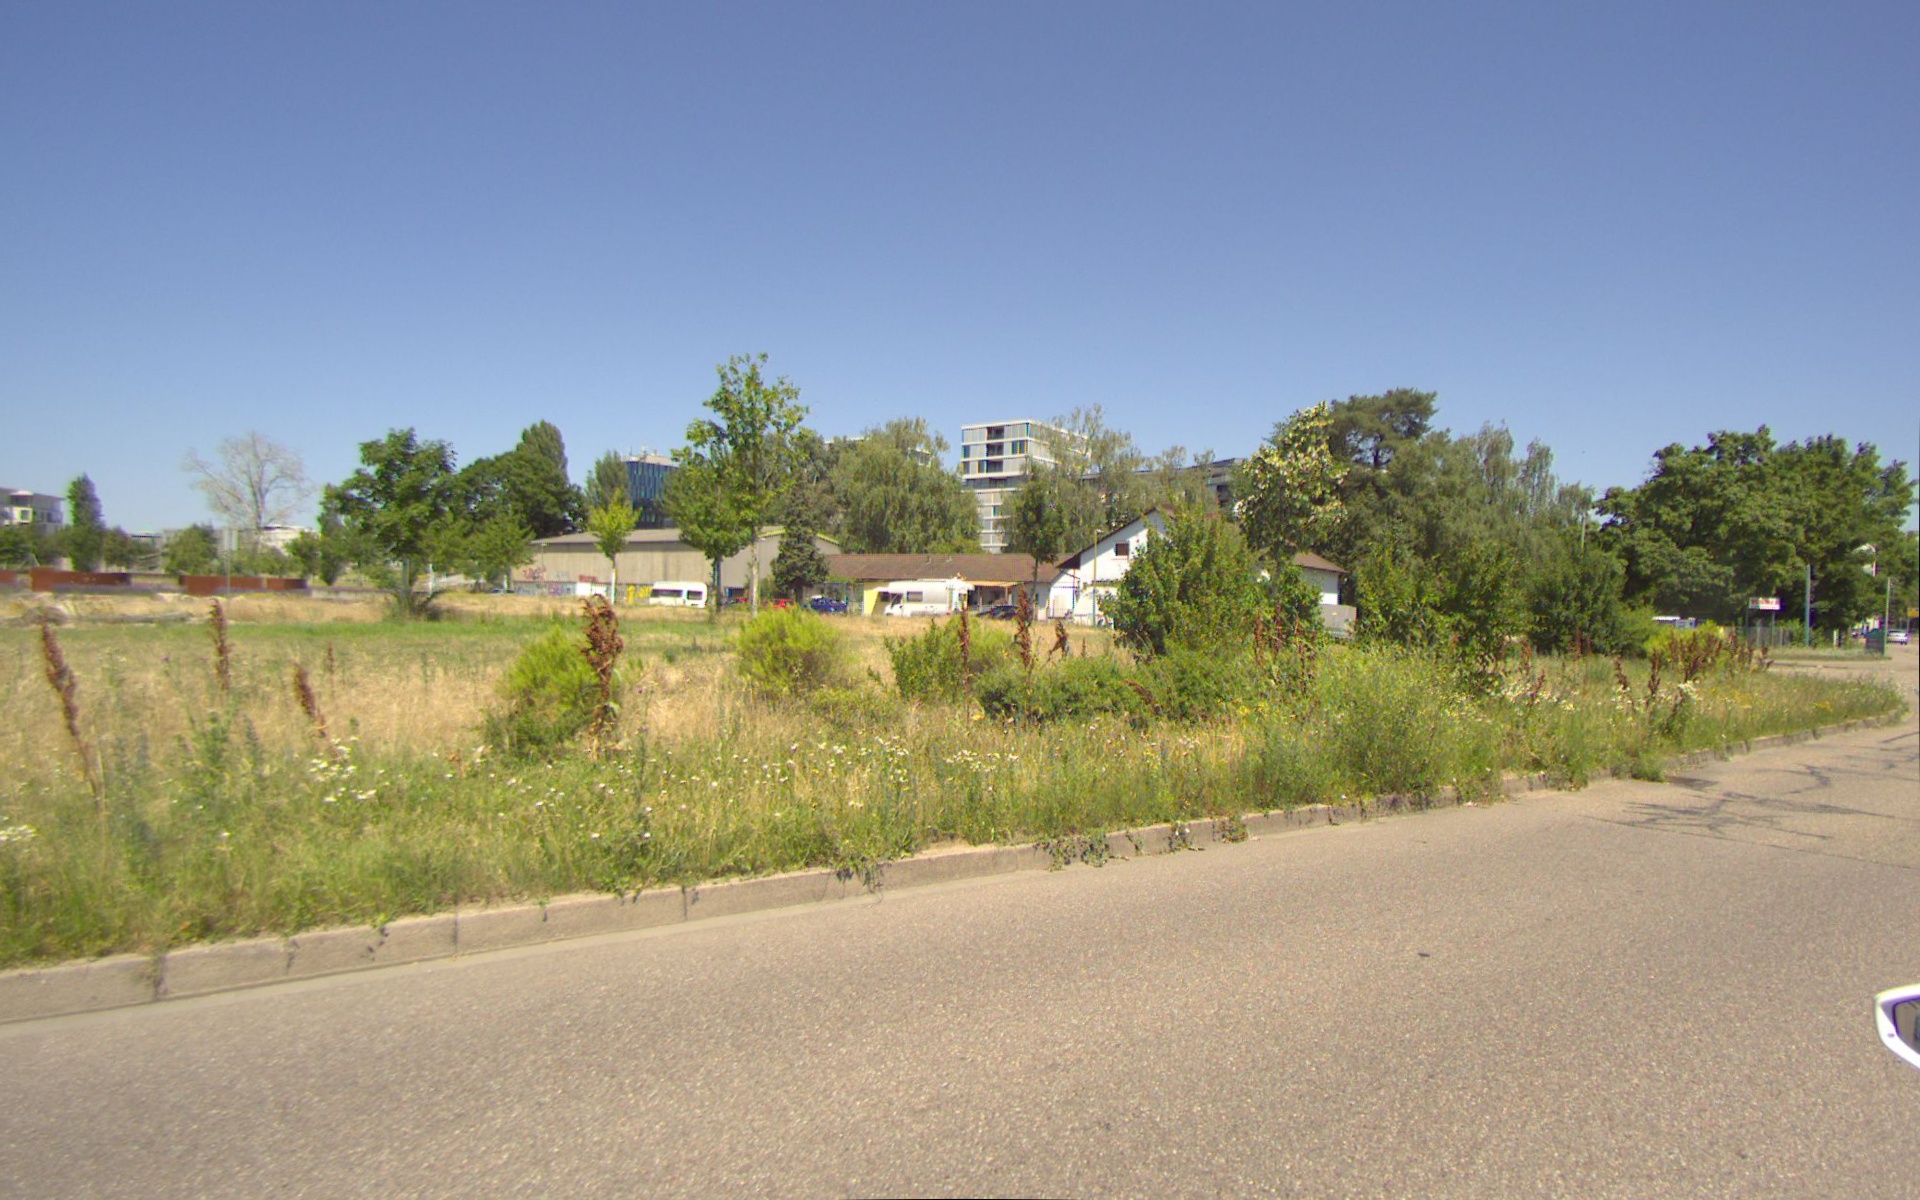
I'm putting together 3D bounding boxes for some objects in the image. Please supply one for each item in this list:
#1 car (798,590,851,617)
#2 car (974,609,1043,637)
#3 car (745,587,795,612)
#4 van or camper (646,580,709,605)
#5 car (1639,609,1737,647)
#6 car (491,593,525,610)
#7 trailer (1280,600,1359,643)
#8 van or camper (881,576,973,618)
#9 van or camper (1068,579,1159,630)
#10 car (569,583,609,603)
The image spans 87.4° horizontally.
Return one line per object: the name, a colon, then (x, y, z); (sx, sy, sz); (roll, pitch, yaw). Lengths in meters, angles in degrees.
car: (-9.725, 0.243, 72.043); (3.522, 1.795, 1.751); (2, 0, 36)
car: (3.015, 1.443, 62.703); (3.942, 1.573, 1.905); (2, 0, 42)
car: (-14.240, -0.045, 75.243); (3.522, 1.795, 1.751); (2, 0, 36)
van or camper: (-23.283, -0.590, 82.742); (4.977, 1.905, 2.350); (2, 0, 36)
car: (41.604, 1.587, 57.440); (1.770, 2.003, 4.265); (2, 0, -43)
car: (-45.779, 0.161, 101.669); (3.522, 1.618, 1.586); (2, 0, 37)
trailer: (18.218, 1.070, 50.920); (3.373, 2.073, 1.752); (2, 0, 40)
van or camper: (-2.256, -0.199, 66.677); (5.876, 2.628, 2.462); (2, 0, 38)
van or camper: (8.778, 0.215, 57.655); (4.398, 2.626, 2.481); (4, 2, 39)
car: (-33.822, -0.643, 91.563); (3.522, 1.795, 1.751); (2, 0, 36)
